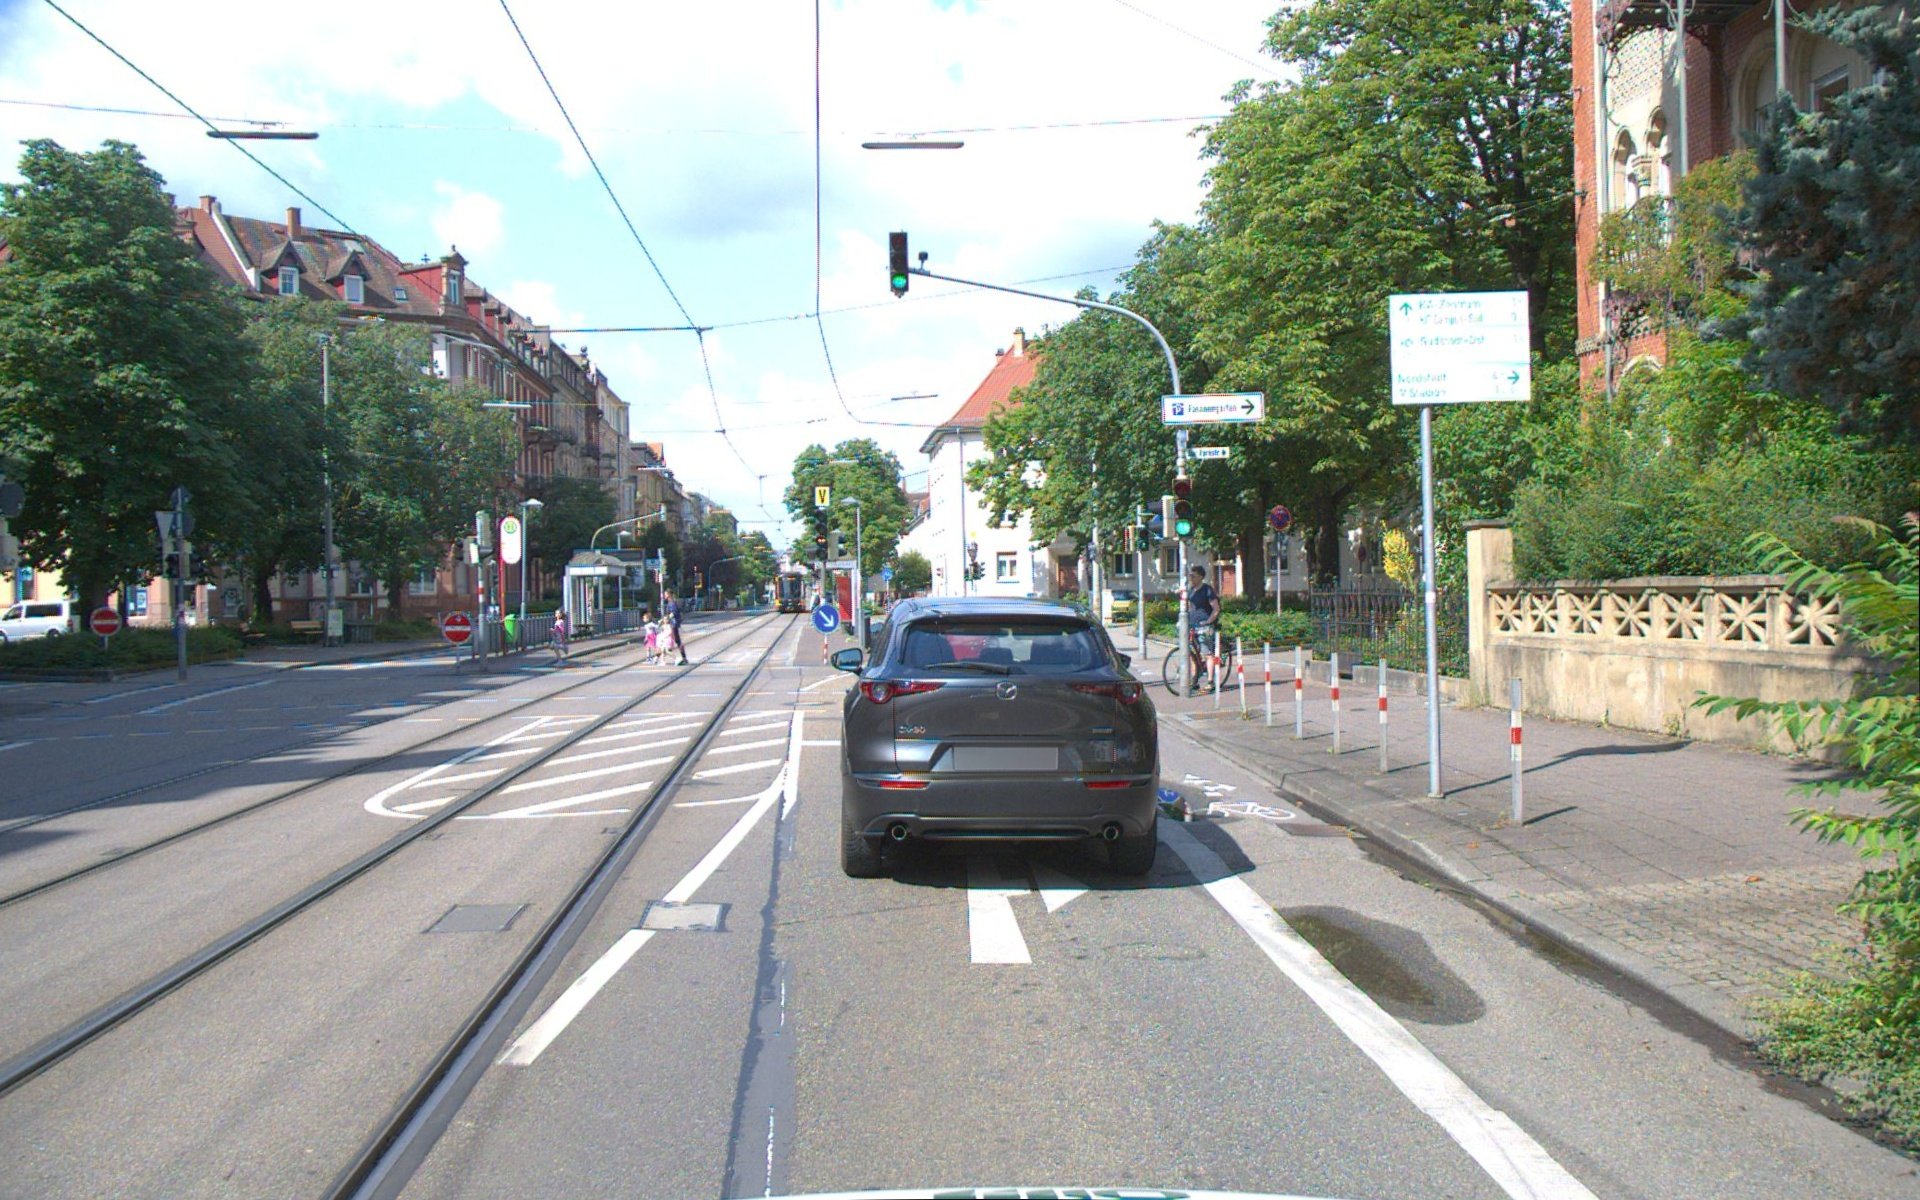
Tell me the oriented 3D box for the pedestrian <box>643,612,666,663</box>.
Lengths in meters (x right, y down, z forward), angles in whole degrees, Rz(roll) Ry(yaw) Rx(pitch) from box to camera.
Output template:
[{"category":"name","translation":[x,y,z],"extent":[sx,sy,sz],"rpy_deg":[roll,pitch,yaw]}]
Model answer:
[{"category":"pedestrian","translation":[-7.002,0.850,37.911],"extent":[0.429,1.127,0.422],"rpy_deg":[-3,0,-10]}]

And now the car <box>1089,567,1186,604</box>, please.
[{"category":"car","translation":[8.195,-0.669,76.628],"extent":[4.090,1.536,1.844],"rpy_deg":[-1,2,37]}]

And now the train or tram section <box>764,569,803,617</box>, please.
[{"category":"train or tram section","translation":[-15.735,-0.510,148.390],"extent":[2.939,4.053,13.796],"rpy_deg":[-1,-1,-4]}]

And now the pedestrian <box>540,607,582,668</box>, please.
[{"category":"pedestrian","translation":[-9.055,0.849,37.570],"extent":[0.810,1.326,0.716],"rpy_deg":[-3,0,-10]}]

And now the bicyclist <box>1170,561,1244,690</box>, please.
[{"category":"bicyclist","translation":[3.654,0.371,24.511],"extent":[0.724,1.851,0.813],"rpy_deg":[-1,0,-27]}]

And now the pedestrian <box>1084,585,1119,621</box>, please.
[{"category":"pedestrian","translation":[5.406,0.125,63.267],"extent":[1.170,1.291,0.556],"rpy_deg":[-4,0,-10]}]

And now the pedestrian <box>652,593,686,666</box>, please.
[{"category":"pedestrian","translation":[-6.558,0.657,37.300],"extent":[0.714,1.593,0.797],"rpy_deg":[-1,0,-10]}]

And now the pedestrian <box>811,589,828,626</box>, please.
[{"category":"pedestrian","translation":[-6.581,0.364,77.675],"extent":[0.756,1.704,0.667],"rpy_deg":[-1,0,-6]}]

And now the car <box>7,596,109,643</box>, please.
[{"category":"car","translation":[-40.416,0.867,74.104],"extent":[3.852,2.023,1.857],"rpy_deg":[-1,0,19]}]

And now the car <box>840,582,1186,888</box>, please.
[{"category":"car","translation":[0.197,0.695,10.396],"extent":[1.746,1.540,3.998],"rpy_deg":[1,0,-2]}]

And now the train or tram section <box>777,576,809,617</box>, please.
[{"category":"train or tram section","translation":[-17.716,-0.314,175.875],"extent":[2.939,4.053,13.796],"rpy_deg":[-1,-1,-4]}]

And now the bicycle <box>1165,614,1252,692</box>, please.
[{"category":"bicycle","translation":[3.708,0.776,24.599],"extent":[0.382,1.053,1.836],"rpy_deg":[-1,1,39]}]

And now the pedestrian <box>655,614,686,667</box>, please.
[{"category":"pedestrian","translation":[-6.425,0.894,36.732],"extent":[0.629,1.133,0.443],"rpy_deg":[-1,0,-10]}]

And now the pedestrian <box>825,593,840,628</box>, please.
[{"category":"pedestrian","translation":[-5.820,0.477,75.508],"extent":[0.654,1.573,0.580],"rpy_deg":[-1,0,-6]}]

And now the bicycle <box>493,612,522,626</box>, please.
[{"category":"bicycle","translation":[-24.527,1.026,89.641],"extent":[0.378,0.760,1.707],"rpy_deg":[-1,0,31]}]

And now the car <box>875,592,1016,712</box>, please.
[{"category":"car","translation":[-0.226,0.639,22.491],"extent":[1.739,1.489,3.841],"rpy_deg":[0,0,-2]}]
